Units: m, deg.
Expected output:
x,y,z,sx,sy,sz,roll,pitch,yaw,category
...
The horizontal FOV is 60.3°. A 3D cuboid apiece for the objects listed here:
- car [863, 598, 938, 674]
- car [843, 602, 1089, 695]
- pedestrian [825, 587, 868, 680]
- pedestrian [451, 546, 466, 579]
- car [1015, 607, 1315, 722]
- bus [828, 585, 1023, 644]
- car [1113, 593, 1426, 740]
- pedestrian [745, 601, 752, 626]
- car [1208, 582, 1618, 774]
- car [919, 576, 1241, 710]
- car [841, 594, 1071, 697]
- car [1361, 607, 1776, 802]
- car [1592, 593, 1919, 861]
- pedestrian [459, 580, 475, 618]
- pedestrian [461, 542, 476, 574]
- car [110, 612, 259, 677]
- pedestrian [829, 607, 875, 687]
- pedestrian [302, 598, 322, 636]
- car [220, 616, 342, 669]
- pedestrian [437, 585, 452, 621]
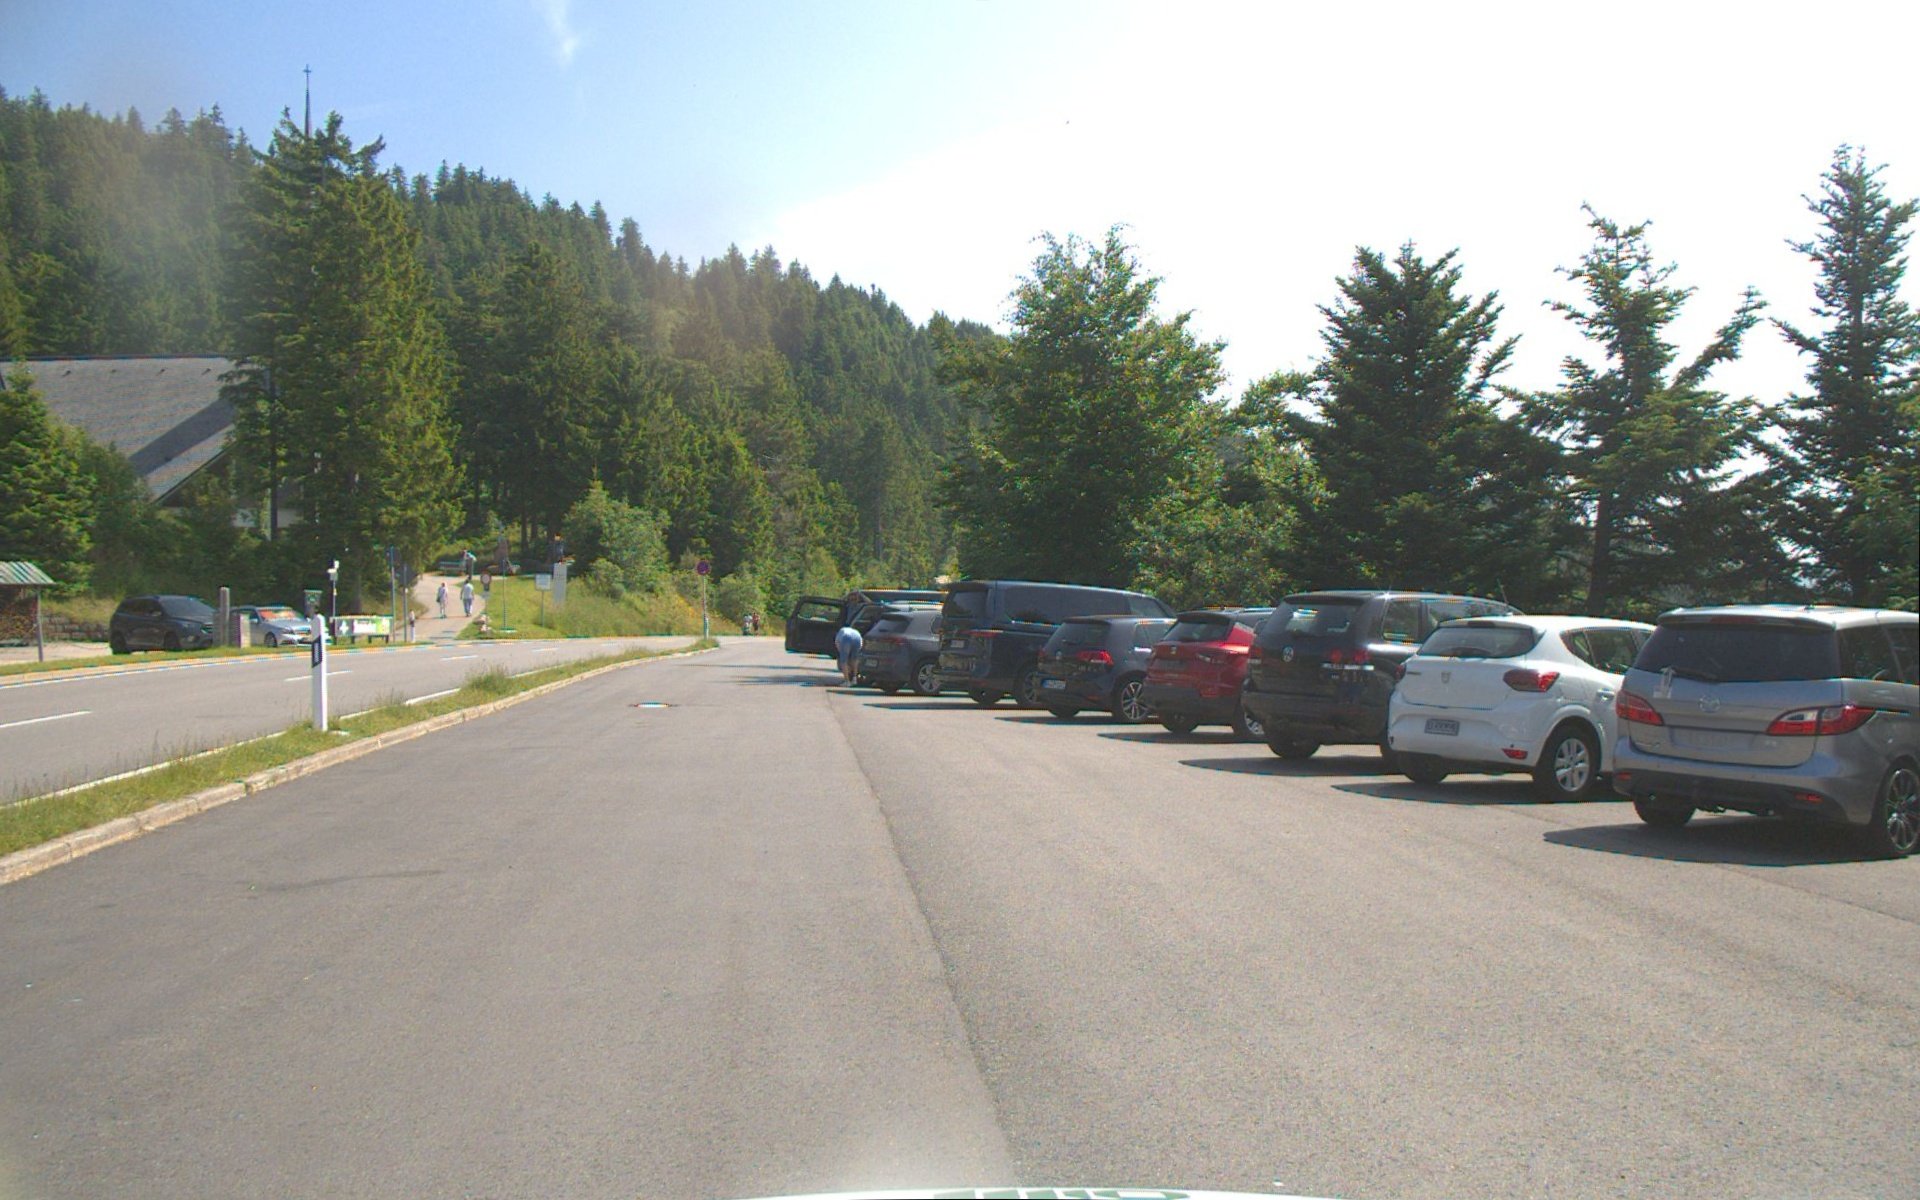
x,y,z,sx,sy,sz,roll,pitch,yaw,category
-1.815,1.034,48.883,1.868,2.007,4.814,4,-1,-5,car
0.116,0.855,29.178,3.939,1.468,1.824,2,-1,-27,car
-2.238,0.659,32.561,0.572,1.791,0.627,3,-2,-29,pedestrian
-31.769,-2.365,104.783,0.784,2.048,0.937,-2,1,-14,pedestrian
2.883,0.900,22.969,3.950,1.439,1.725,3,-1,-33,car
-2.273,0.912,109.448,12.585,3.640,2.985,1,2,11,bus
3.929,0.808,20.632,3.967,1.617,1.834,3,-1,-43,car
-15.377,0.988,120.357,0.386,1.778,0.406,0,0,4,pedestrian
4.763,0.777,17.143,4.229,1.724,1.964,3,-1,-38,car
1.903,0.678,26.115,4.696,1.913,1.951,2,-1,-25,car
-0.059,0.882,32.031,3.950,1.691,1.977,5,-3,-33,car
5.546,0.891,14.866,3.961,1.502,1.743,3,-1,-39,car
6.381,0.827,11.996,3.967,1.576,1.792,3,-1,-43,car
-24.169,-0.050,81.096,0.641,1.830,0.641,-1,0,-12,pedestrian
-31.535,-2.673,106.098,0.801,2.048,0.850,-2,1,-14,pedestrian
-20.684,1.159,44.093,4.124,1.662,1.783,-1,-1,35,car
-1.974,0.853,30.330,0.757,1.427,0.669,-1,1,1,pedestrian
-26.942,0.695,68.765,0.566,1.559,0.552,-1,1,-6,pedestrian
-20.635,1.279,50.233,3.893,1.466,1.736,-1,1,38,car
-25.091,0.156,80.522,0.641,1.696,0.641,-1,-2,-12,pedestrian
